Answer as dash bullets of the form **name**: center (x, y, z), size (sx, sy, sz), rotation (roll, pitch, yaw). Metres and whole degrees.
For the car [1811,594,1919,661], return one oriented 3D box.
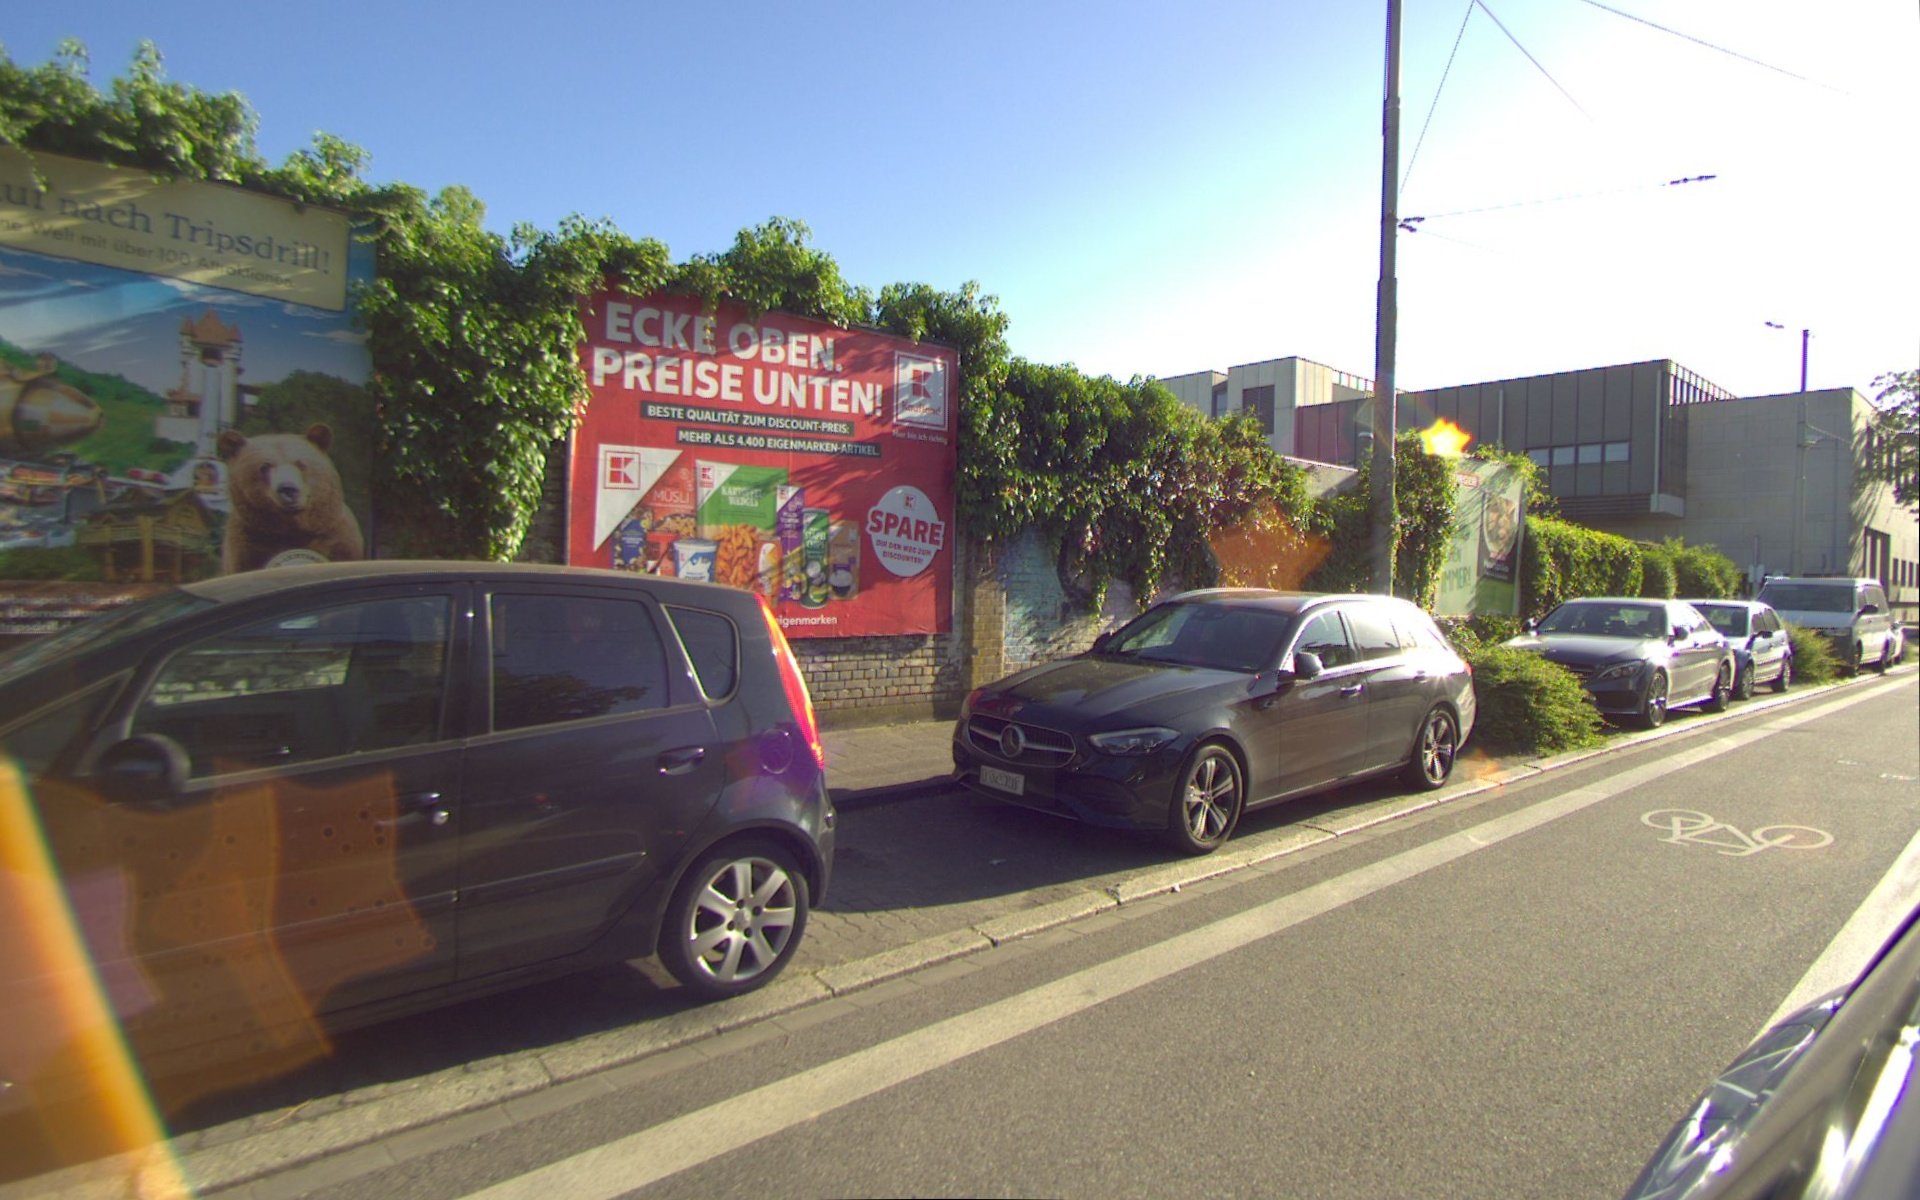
- **car**: center (22.660, 0.614, 25.182), size (4.426, 1.435, 1.678), rotation (-1, 3, -43)

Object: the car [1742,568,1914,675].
- **car**: center (18.554, 0.356, 21.553), size (5.148, 2.016, 1.859), rotation (-1, 2, -39)

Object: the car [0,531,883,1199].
- **car**: center (-2.309, 0.561, 3.382), size (3.750, 1.511, 1.827), rotation (-1, 4, -43)

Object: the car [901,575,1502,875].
- **car**: center (1.952, 0.589, 7.221), size (4.560, 1.470, 1.828), rotation (-1, 2, -40)

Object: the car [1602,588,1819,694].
- **car**: center (12.148, 0.551, 16.303), size (4.002, 1.491, 1.877), rotation (-1, 1, -39)

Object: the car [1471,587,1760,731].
- **car**: center (8.354, 0.592, 12.735), size (4.520, 1.503, 1.828), rotation (-1, 1, -40)
